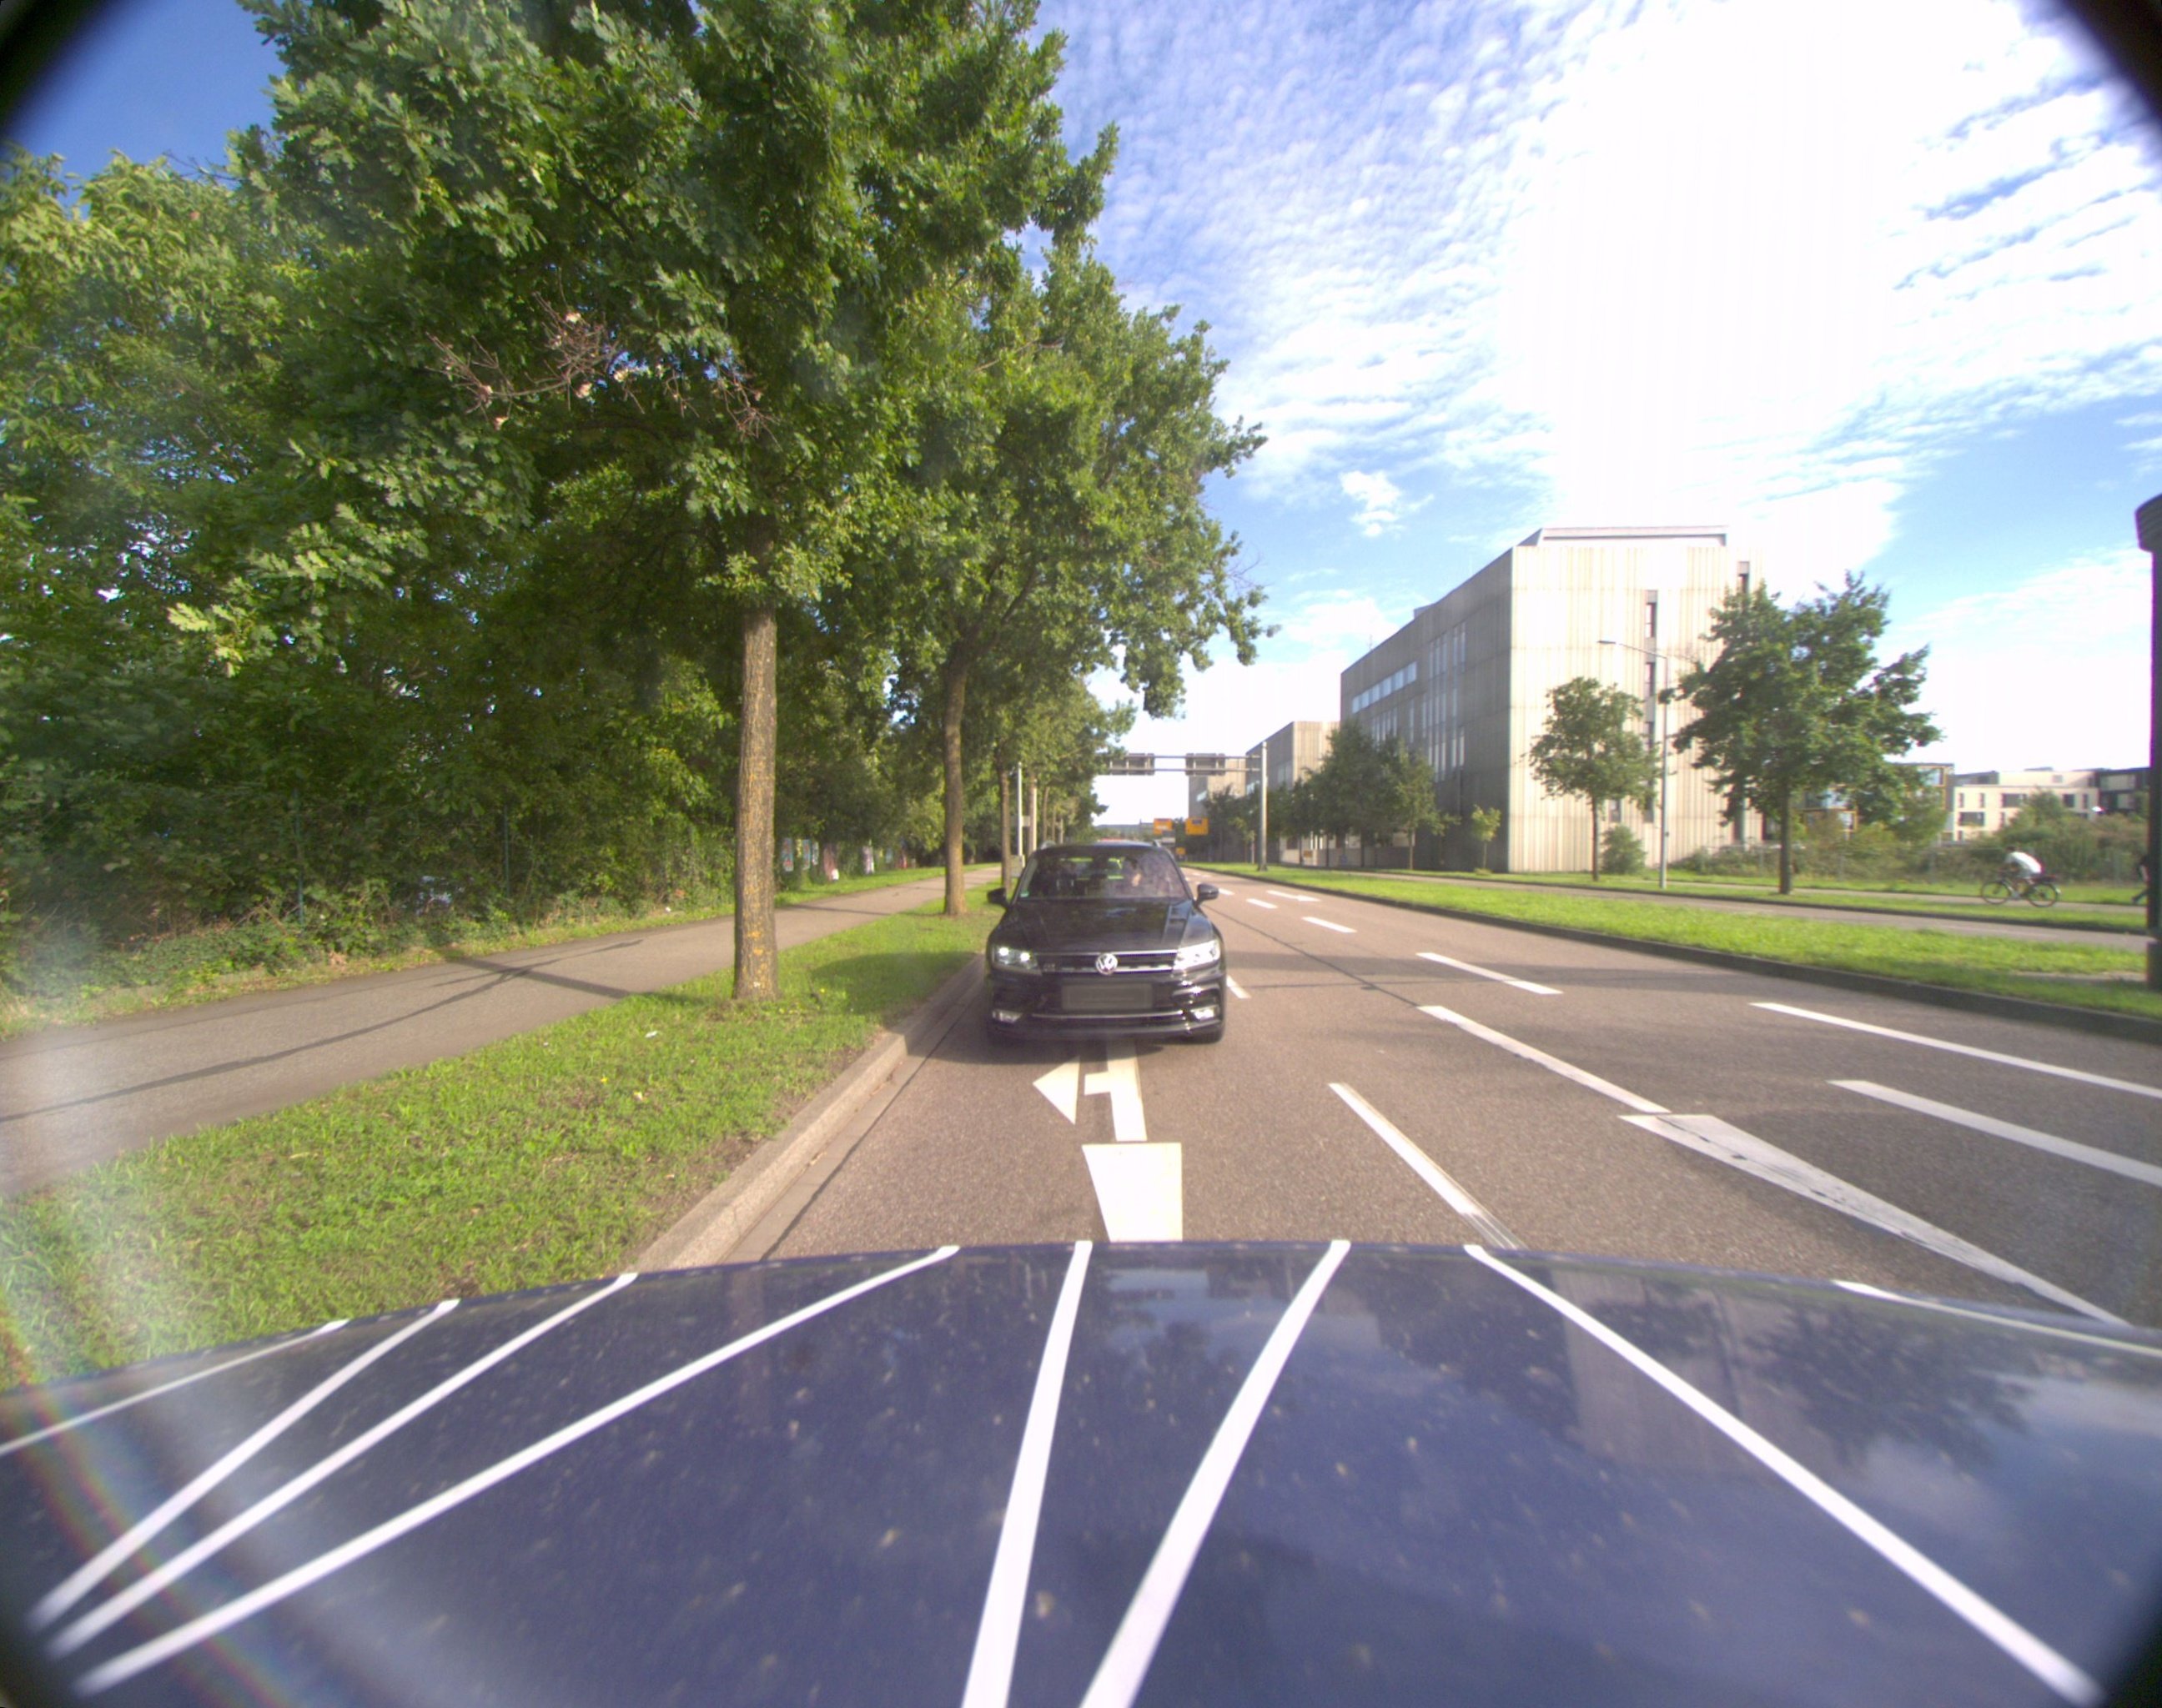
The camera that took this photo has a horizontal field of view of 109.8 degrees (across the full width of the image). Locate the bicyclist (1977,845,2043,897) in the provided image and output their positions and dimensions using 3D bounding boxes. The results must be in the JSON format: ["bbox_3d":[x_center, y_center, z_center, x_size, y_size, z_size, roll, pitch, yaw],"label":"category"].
[{"bbox_3d":[27.600,0.495,22.591,0.707,1.517,0.989,0,1,1],"label":"bicyclist"}]

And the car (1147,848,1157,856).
[{"bbox_3d":[17.160,-0.472,183.536,1.998,2.002,4.000,0,0,0],"label":"car"}]

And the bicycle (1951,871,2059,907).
[{"bbox_3d":[27.592,1.017,22.737,0.897,0.975,1.911,1,0,1],"label":"bicycle"}]

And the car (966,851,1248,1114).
[{"bbox_3d":[0.221,0.829,6.831,1.775,1.637,3.868,-1,1,2],"label":"car"}]

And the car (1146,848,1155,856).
[{"bbox_3d":[17.427,-0.566,190.937,1.998,2.002,3.983,0,0,0],"label":"car"}]

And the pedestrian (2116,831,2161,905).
[{"bbox_3d":[29.566,0.373,21.009,0.676,2.002,0.867,0,1,0],"label":"pedestrian"}]
